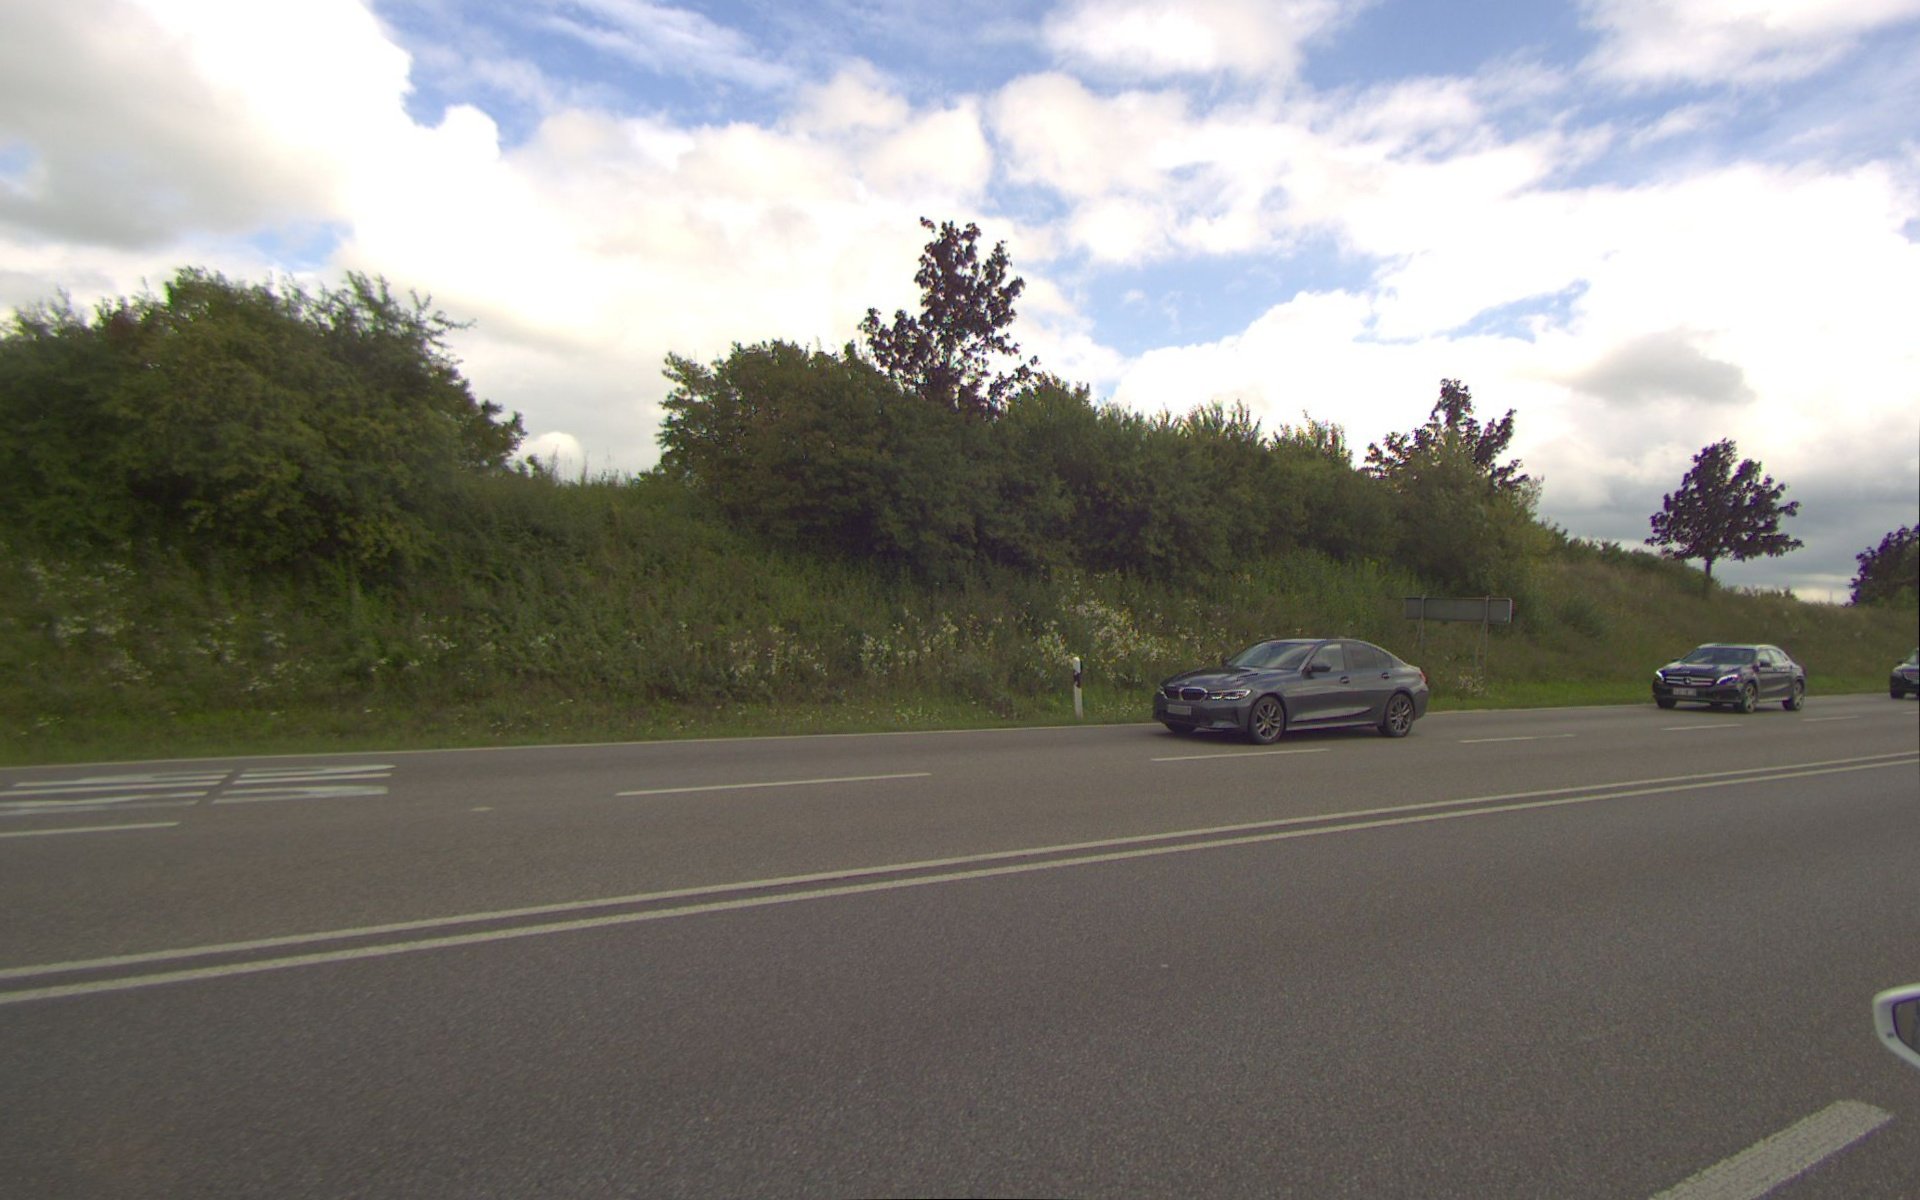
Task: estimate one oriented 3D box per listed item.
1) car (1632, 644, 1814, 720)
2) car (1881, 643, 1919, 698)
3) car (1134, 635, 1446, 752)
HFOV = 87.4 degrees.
[{"bbox_3d":[17.769,1.842,23.333,4.652,1.531,1.785,2,0,-31],"label":"car"},{"bbox_3d":[30.735,2.184,31.341,4.465,1.656,1.785,2,-2,-31],"label":"car"},{"bbox_3d":[4.929,1.285,14.786,4.652,1.424,1.785,2,0,-31],"label":"car"}]
